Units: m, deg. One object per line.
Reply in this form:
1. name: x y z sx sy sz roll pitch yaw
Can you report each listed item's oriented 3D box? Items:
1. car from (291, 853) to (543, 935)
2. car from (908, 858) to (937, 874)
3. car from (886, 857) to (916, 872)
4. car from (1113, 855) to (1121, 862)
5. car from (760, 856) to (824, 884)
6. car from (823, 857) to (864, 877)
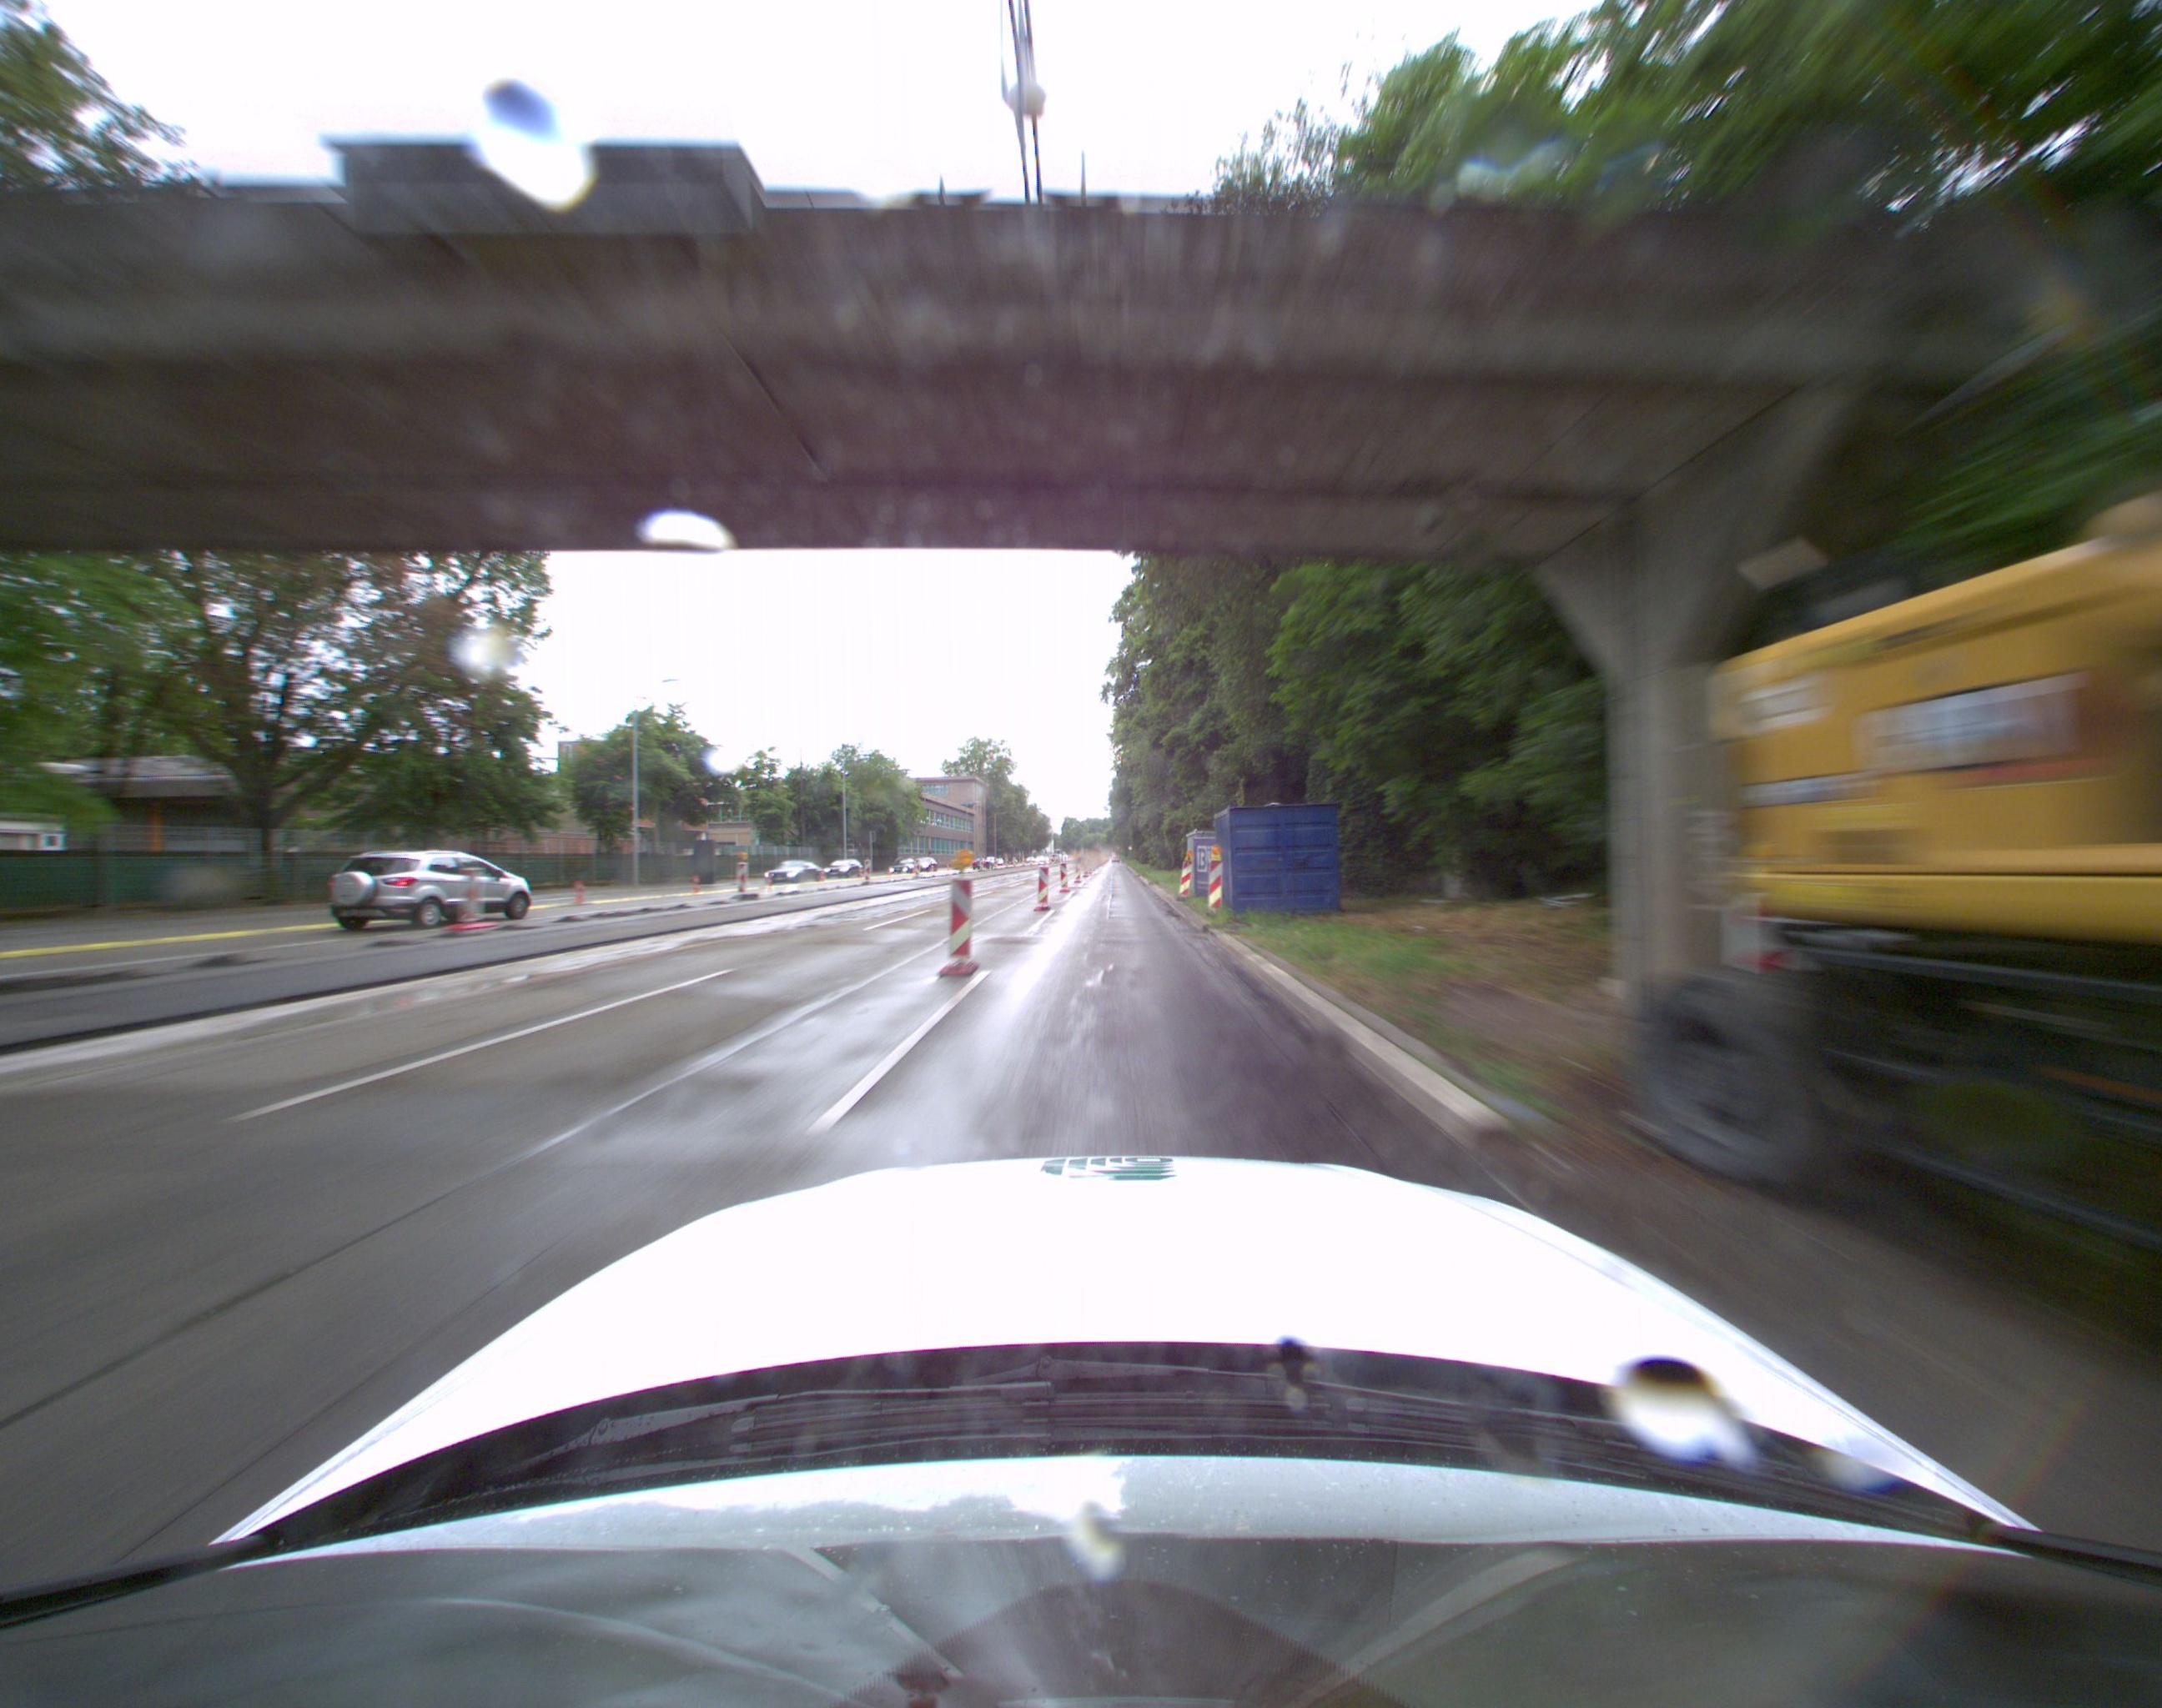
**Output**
1. car: -14.307 0.766 17.956 1.882 1.564 4.365 0 0 1
2. car: -15.008 1.148 77.385 1.716 1.442 4.003 -2 0 3
3. car: -17.968 1.046 81.291 1.964 1.442 4.001 -2 0 2
4. car: 8.558 1.144 193.471 1.986 1.640 4.002 -2 0 2
5. car: -16.300 0.878 46.104 1.963 1.442 4.003 -2 0 3
6. car: -18.019 0.970 62.014 1.716 1.442 4.003 -2 0 3
